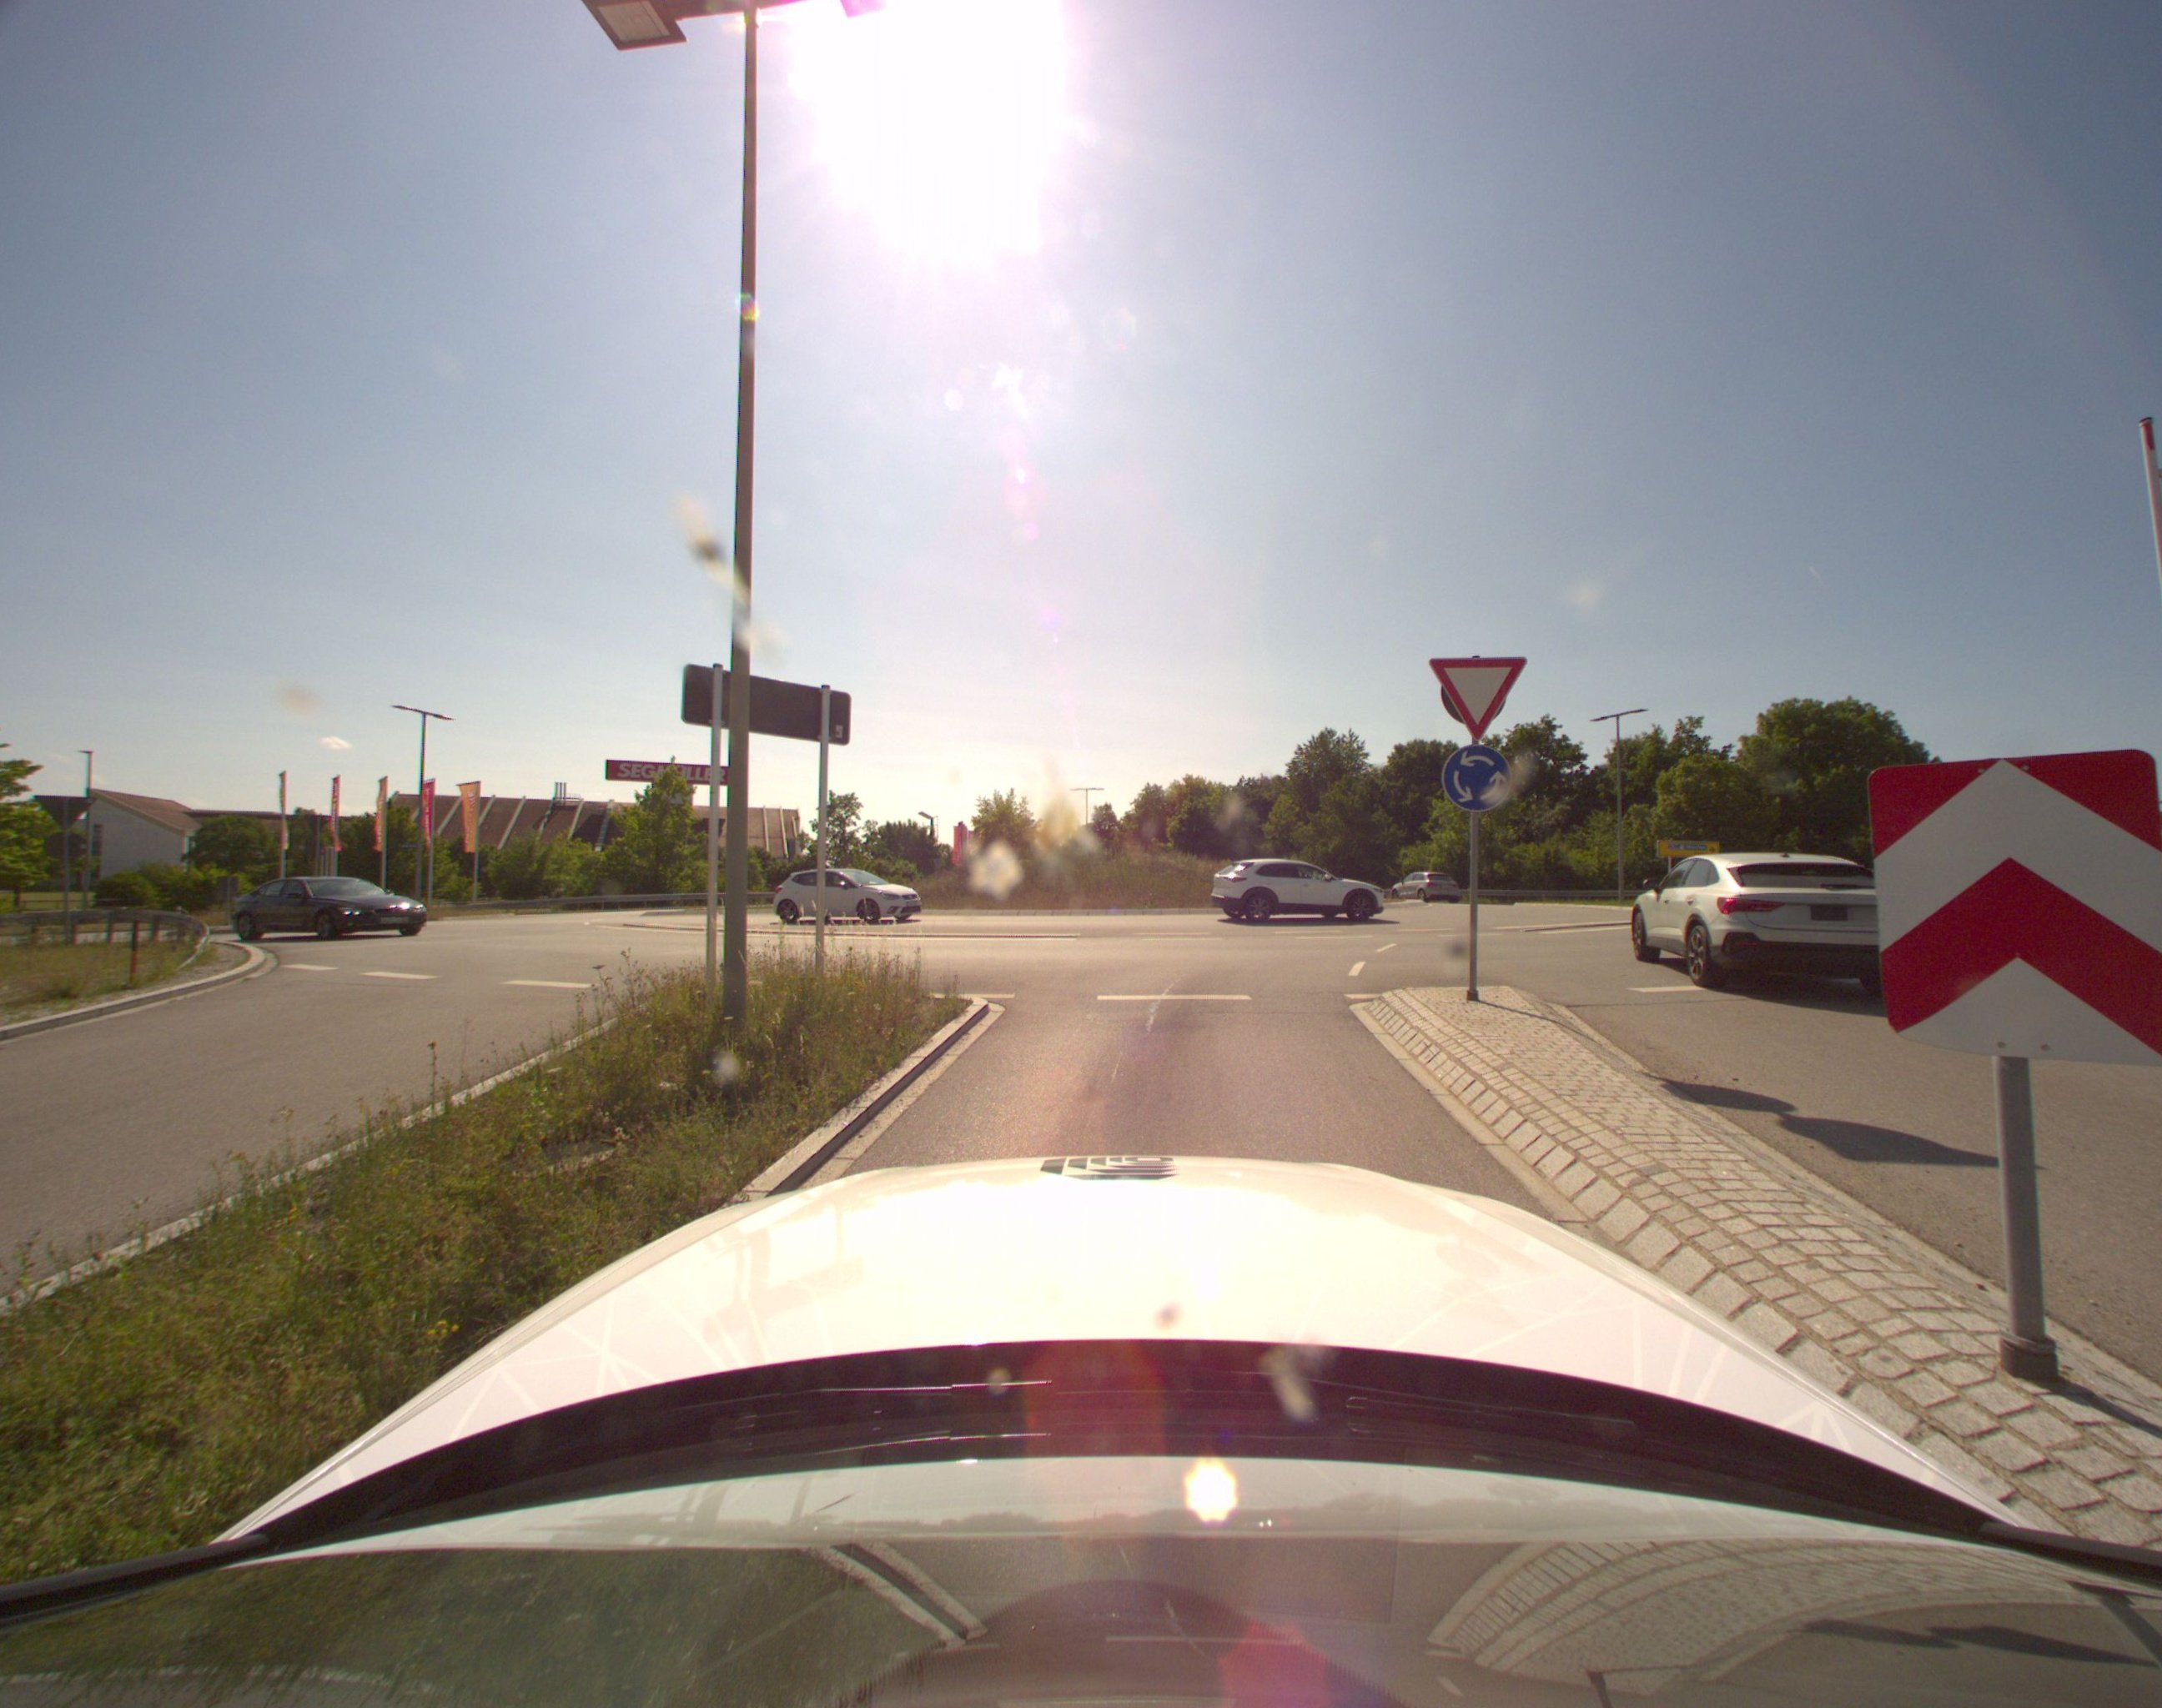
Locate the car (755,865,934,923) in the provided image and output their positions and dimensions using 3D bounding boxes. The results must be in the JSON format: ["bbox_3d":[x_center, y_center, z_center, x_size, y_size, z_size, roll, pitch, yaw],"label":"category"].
[{"bbox_3d":[-6.373,1.024,21.959,4.365,1.405,1.800,0,-1,20],"label":"car"}]

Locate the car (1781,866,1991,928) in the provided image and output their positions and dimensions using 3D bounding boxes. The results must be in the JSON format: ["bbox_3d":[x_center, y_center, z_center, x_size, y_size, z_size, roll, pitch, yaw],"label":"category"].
[{"bbox_3d":[18.744,0.972,18.986,4.335,1.352,1.564,1,-1,-16],"label":"car"}]

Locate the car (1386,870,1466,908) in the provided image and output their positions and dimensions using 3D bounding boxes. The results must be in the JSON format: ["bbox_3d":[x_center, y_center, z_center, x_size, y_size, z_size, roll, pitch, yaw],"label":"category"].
[{"bbox_3d":[15.767,1.565,37.453,1.772,1.596,3.994,1,-1,-4],"label":"car"}]

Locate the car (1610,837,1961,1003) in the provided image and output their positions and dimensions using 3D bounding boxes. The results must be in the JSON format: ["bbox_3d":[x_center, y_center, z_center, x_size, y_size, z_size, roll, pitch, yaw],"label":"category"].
[{"bbox_3d":[8.299,0.671,10.178,1.826,1.596,4.346,-1,-1,19],"label":"car"}]

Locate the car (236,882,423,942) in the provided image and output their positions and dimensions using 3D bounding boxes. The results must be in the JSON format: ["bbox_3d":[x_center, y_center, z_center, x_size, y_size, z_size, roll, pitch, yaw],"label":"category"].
[{"bbox_3d":[-17.348,1.277,18.803,3.818,1.182,1.685,0,-1,23],"label":"car"}]

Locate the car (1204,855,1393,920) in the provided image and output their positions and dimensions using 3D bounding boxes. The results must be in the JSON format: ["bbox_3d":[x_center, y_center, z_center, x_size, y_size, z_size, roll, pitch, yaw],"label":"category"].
[{"bbox_3d":[5.425,0.816,20.572,4.270,1.530,1.787,0,-2,-8],"label":"car"}]
